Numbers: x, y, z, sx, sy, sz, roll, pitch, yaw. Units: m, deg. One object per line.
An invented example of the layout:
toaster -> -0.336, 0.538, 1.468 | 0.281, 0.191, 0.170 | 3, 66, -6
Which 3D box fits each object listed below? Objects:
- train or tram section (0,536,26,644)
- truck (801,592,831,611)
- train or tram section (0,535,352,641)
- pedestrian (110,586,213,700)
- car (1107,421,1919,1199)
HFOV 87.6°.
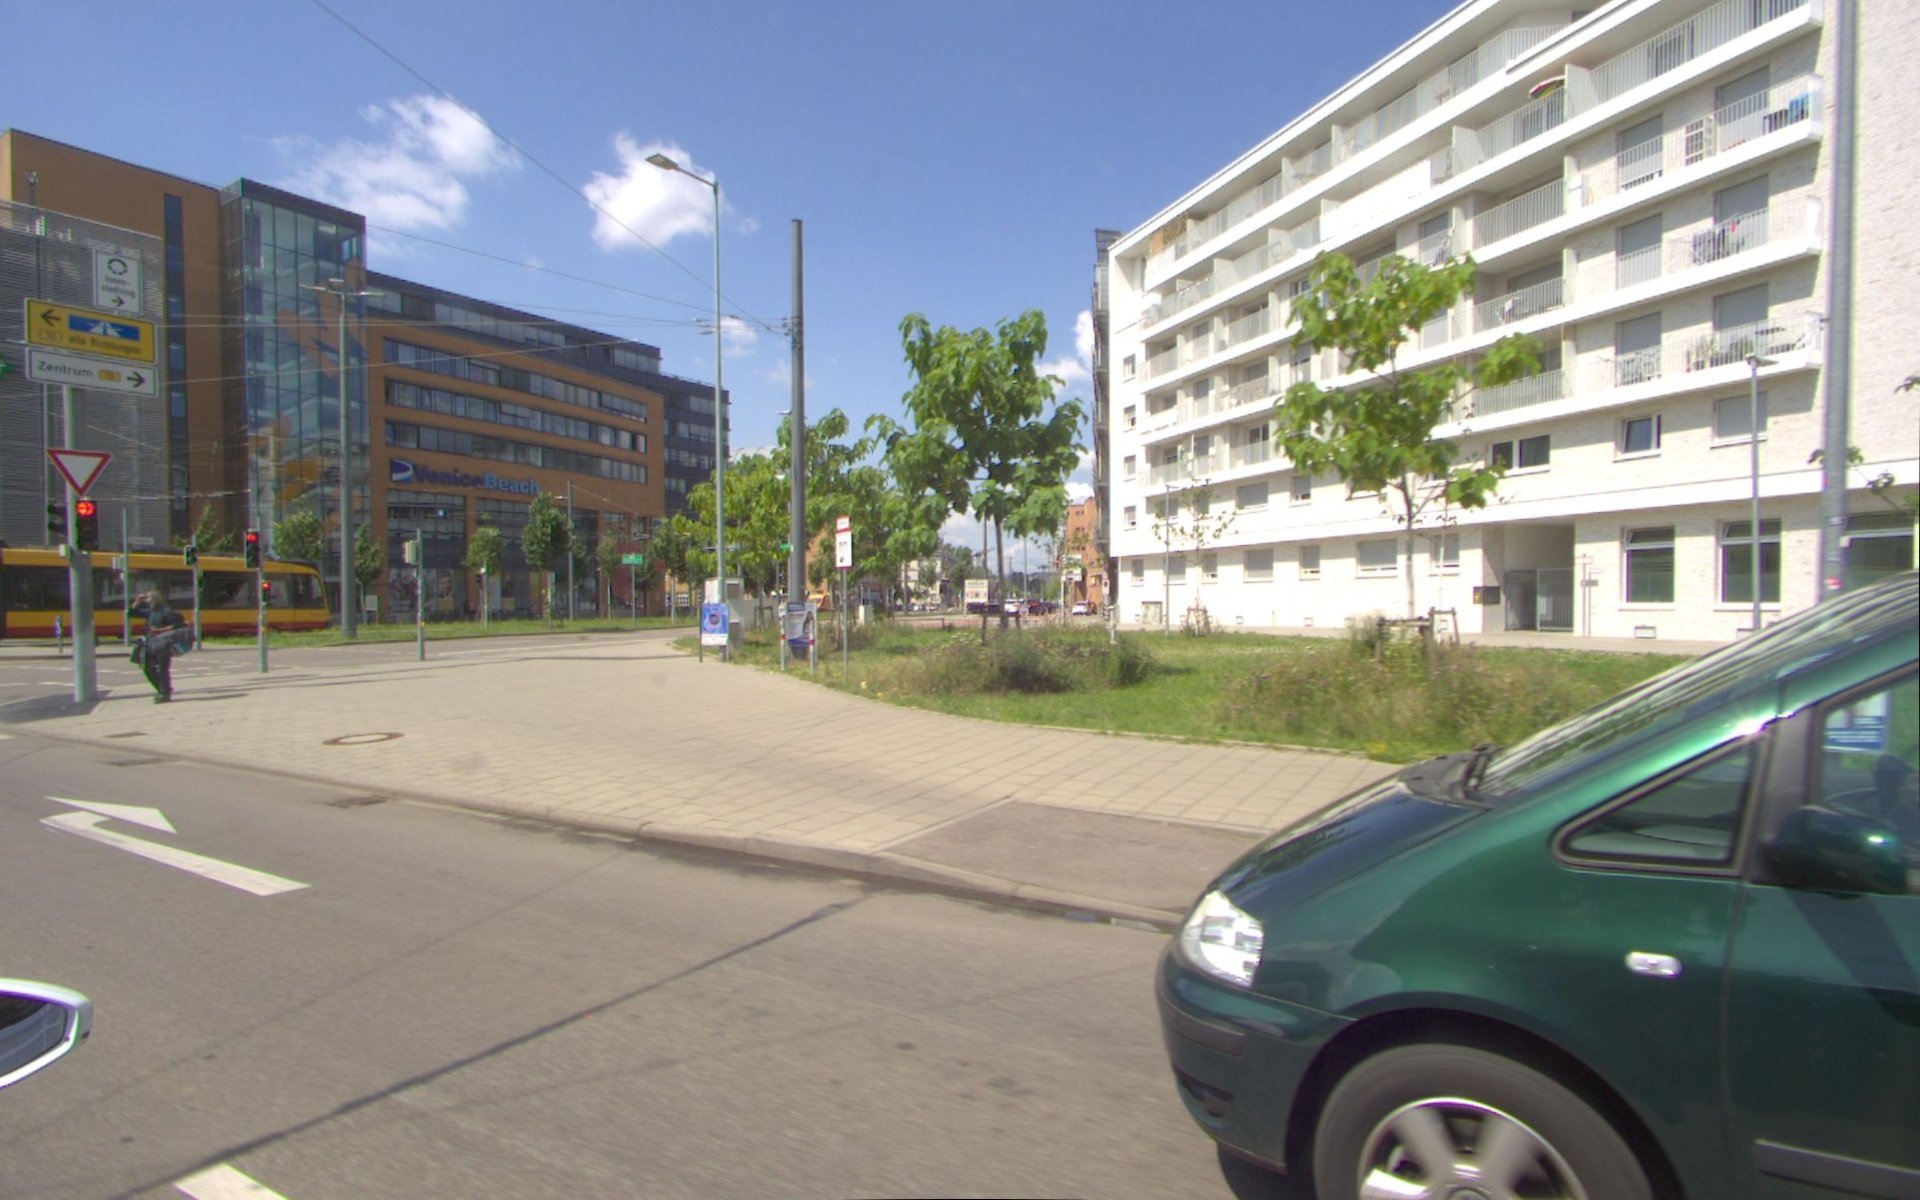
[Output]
train or tram section -> -34.351, -0.436, 29.286 | 3.005, 3.650, 10.993 | 1, -1, 6
truck -> -16.982, 0.246, 118.608 | 1.962, 2.113, 5.522 | 1, -1, 9
train or tram section -> -31.713, -0.301, 41.103 | 3.010, 3.668, 12.616 | 1, -1, 18
pedestrian -> -12.365, 0.651, 15.535 | 0.901, 1.725, 0.808 | -1, 1, 4
car -> 2.920, 0.624, 1.795 | 4.959, 1.779, 1.815 | 0, -1, 33
